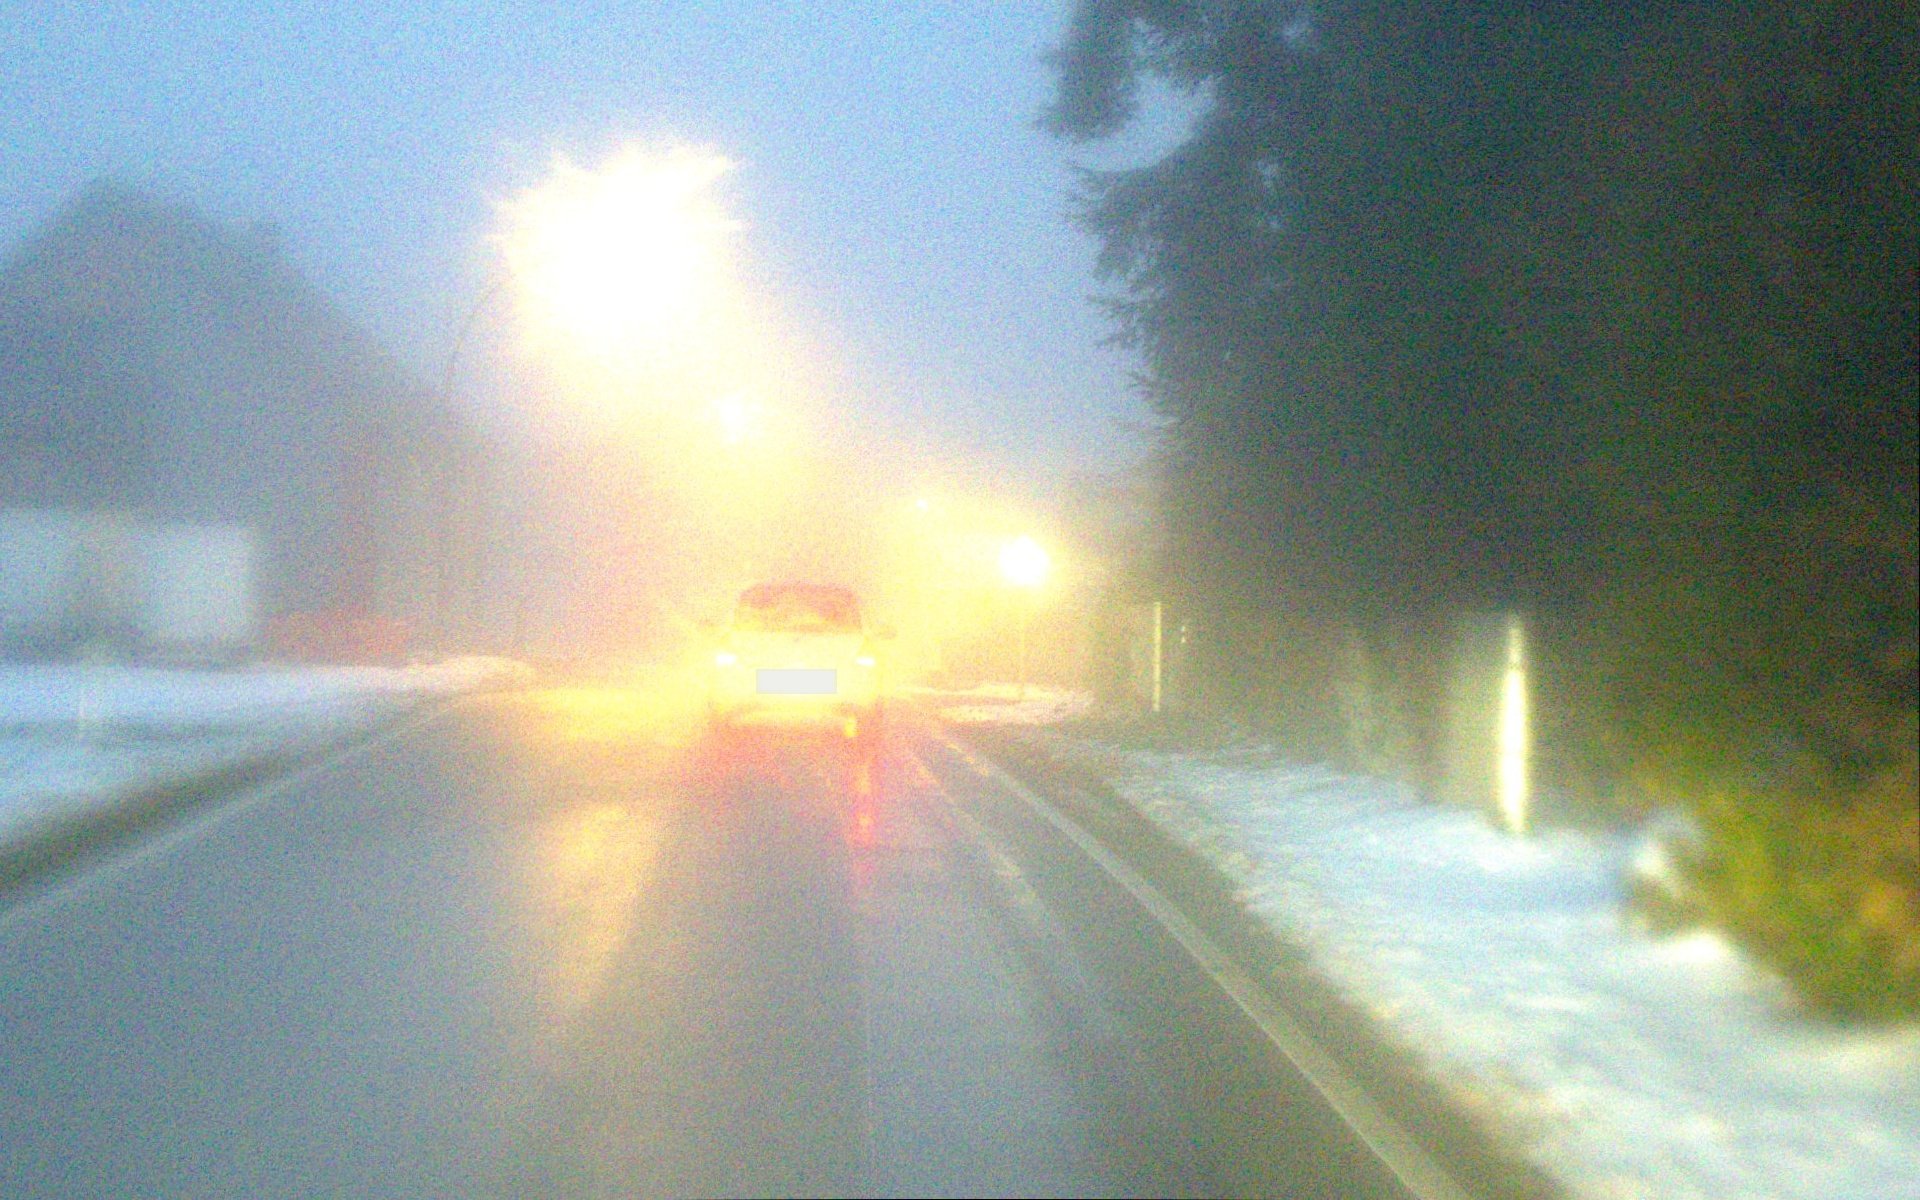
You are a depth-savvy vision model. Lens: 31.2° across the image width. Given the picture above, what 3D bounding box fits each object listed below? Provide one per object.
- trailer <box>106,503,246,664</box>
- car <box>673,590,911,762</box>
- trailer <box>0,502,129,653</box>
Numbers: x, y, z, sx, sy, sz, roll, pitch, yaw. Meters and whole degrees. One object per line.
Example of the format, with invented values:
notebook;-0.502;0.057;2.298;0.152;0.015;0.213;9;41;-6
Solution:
trailer;-13.072;-0.270;57.244;1.689;2.596;3.445;-1;0;-23
car;-1.523;0.668;32.558;1.993;1.503;4.000;-1;0;1
trailer;-15.856;-0.373;58.789;1.994;2.481;4.009;-1;0;5
